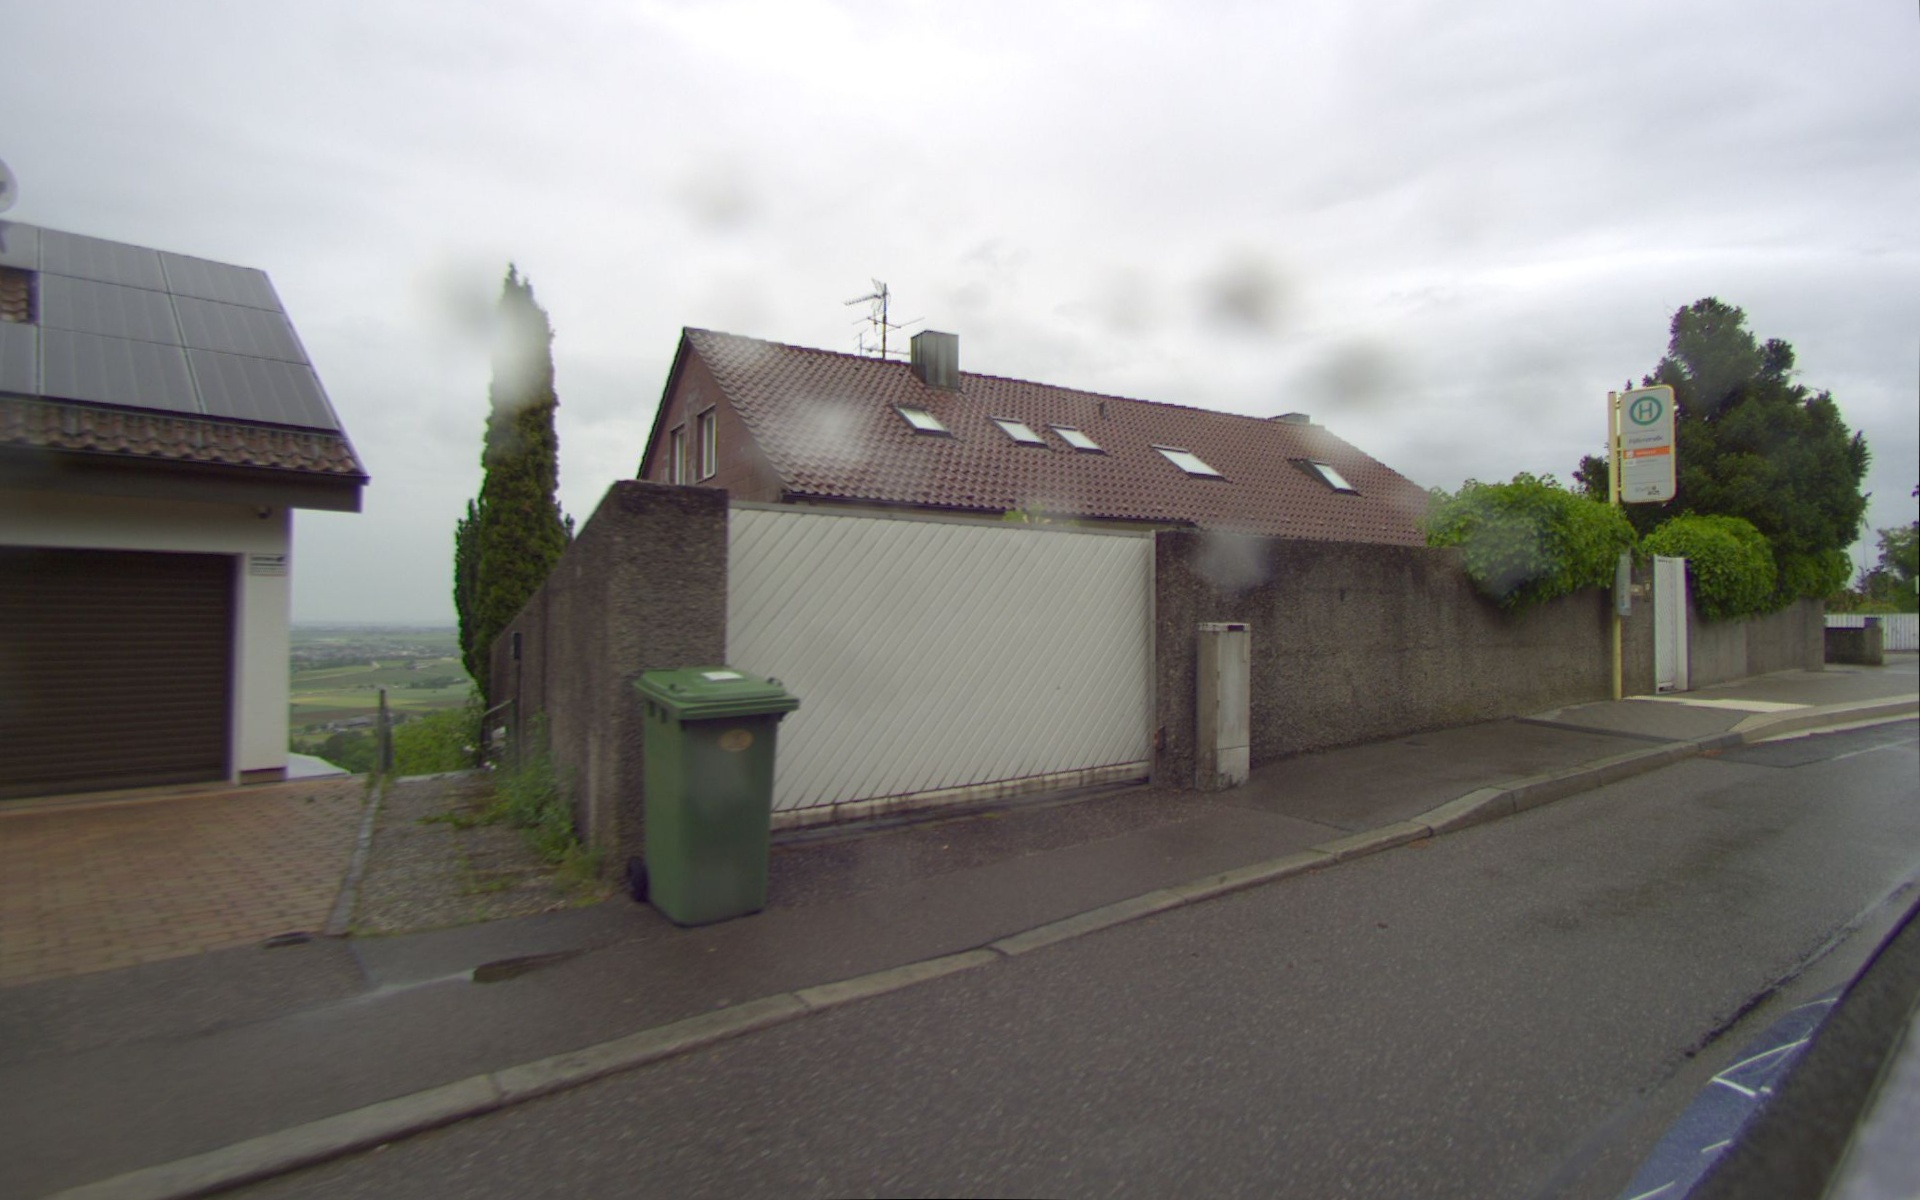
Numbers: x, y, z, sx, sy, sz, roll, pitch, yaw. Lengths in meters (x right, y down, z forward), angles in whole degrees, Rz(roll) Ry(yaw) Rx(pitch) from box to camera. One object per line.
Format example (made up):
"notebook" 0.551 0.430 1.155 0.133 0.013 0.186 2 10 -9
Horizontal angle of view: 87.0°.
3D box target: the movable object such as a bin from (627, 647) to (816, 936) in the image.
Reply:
"movable object such as a bin" -1.093 0.800 4.575 0.588 1.102 0.741 1 1 -35
